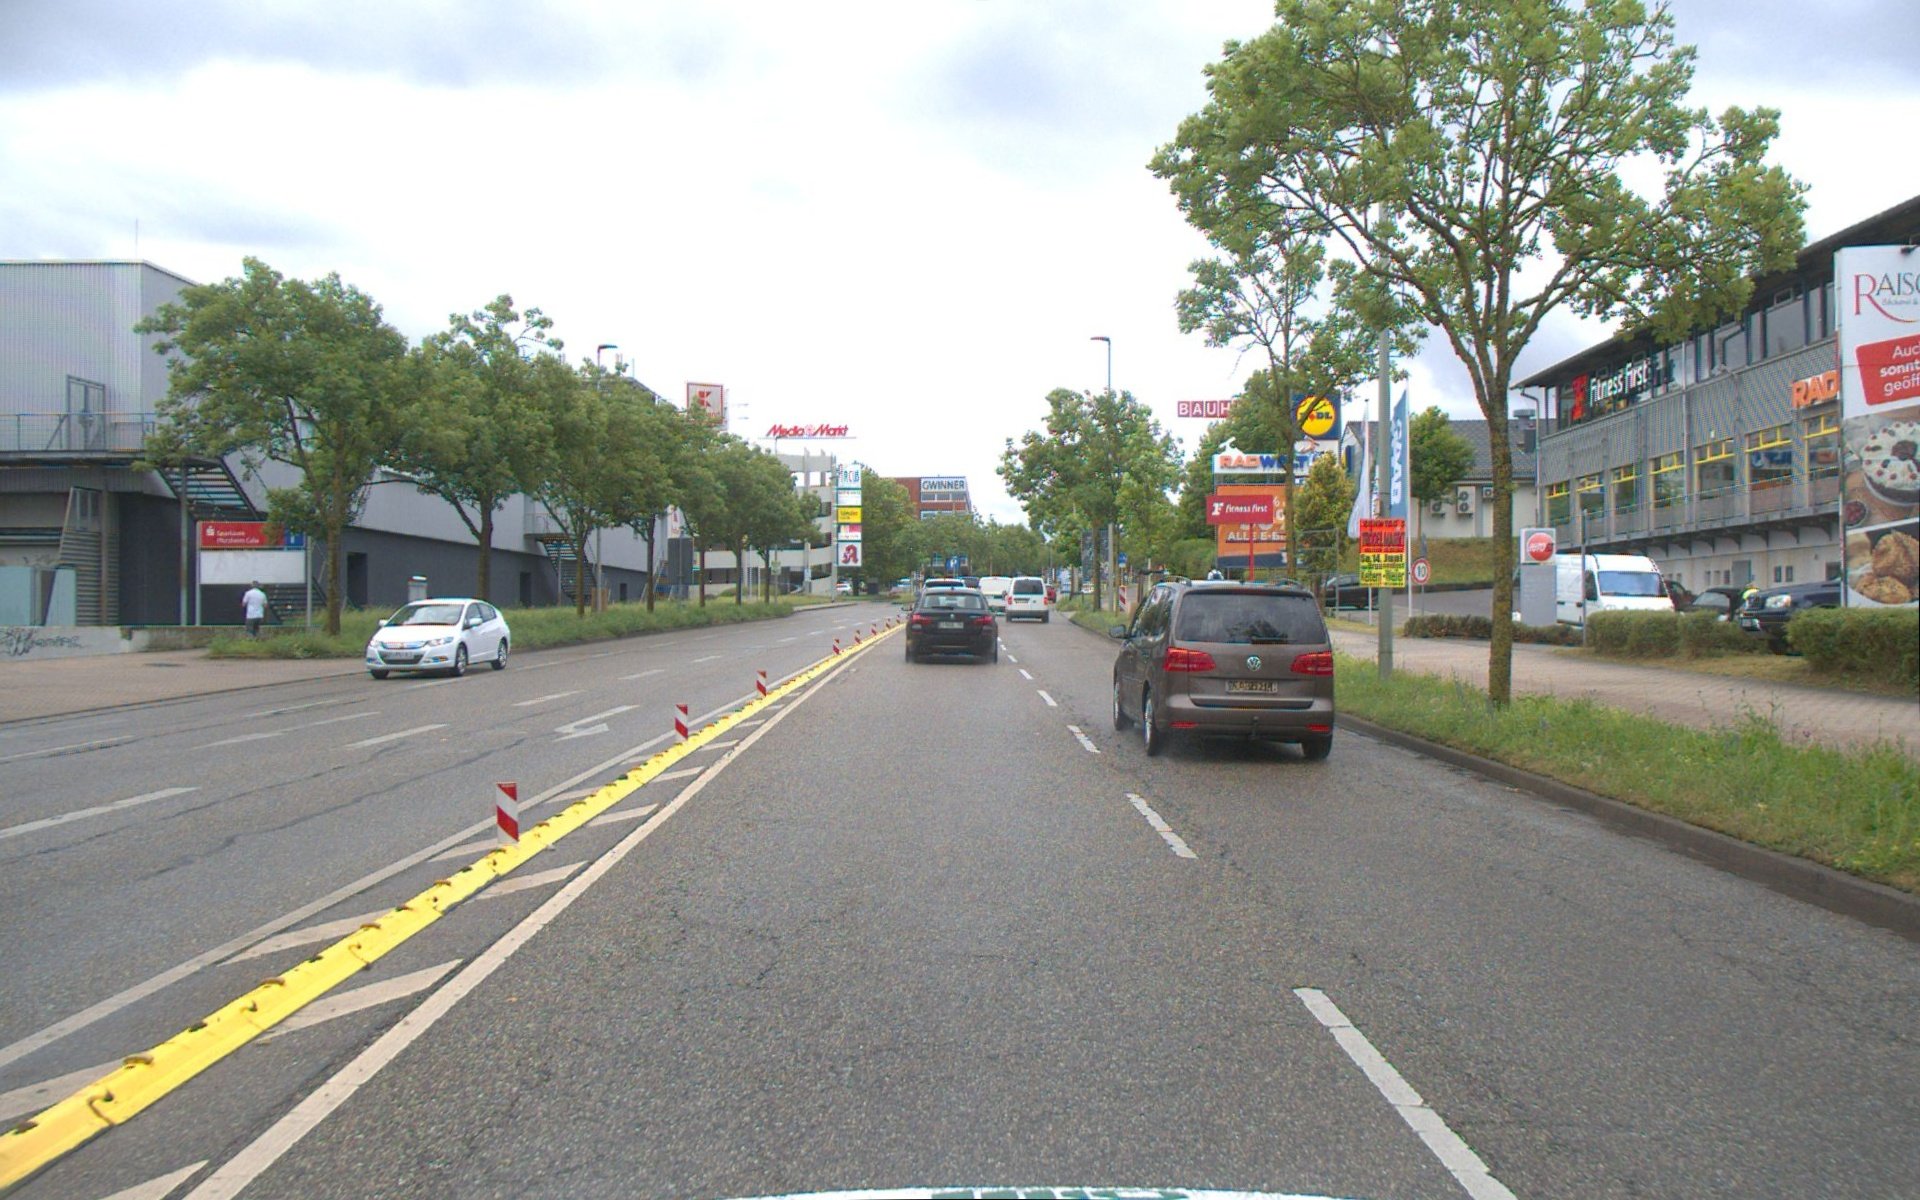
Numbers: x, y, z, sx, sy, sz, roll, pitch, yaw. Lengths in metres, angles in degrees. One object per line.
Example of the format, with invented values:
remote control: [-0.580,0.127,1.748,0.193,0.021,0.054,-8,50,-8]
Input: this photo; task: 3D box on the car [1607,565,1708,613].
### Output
car: [24.502,-0.418,58.043,3.838,1.527,1.715,-3,4,-40]

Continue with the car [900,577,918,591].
car: [-6.917,-2.179,223.360,1.996,1.792,4.949,0,2,4]

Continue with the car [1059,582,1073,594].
car: [14.381,-1.661,224.409,1.757,1.536,4.001,1,0,3]

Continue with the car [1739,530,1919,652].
car: [14.377,-0.225,24.704,4.556,1.628,1.928,-4,0,10]

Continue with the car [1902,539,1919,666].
car: [14.295,-0.093,20.508,4.082,1.628,1.829,-4,0,3]

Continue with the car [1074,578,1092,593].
car: [12.878,-1.472,173.851,1.757,1.536,4.001,1,0,3]

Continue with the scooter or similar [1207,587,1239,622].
scooter or similar: [10.067,0.157,63.321,0.683,1.285,1.396,-3,1,-13]

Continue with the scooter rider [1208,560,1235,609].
scooter rider: [10.021,-0.600,63.353,0.683,1.851,0.855,-3,1,-13]

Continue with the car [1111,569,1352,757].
car: [2.564,0.531,16.542,1.651,1.608,4.218,1,0,-1]

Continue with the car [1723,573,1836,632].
car: [24.189,0.039,48.753,1.754,1.495,4.231,2,4,44]

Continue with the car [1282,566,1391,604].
car: [15.504,-0.634,68.203,4.019,1.463,1.792,-1,3,-12]

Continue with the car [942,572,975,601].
car: [-0.080,-0.733,91.823,1.757,1.536,4.000,1,0,0]

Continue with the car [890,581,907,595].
car: [-7.748,-1.541,208.948,1.893,1.636,4.713,0,2,2]

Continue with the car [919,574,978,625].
car: [-0.340,-0.024,52.295,1.757,1.536,4.000,1,0,0]

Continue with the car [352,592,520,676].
car: [-10.017,0.604,31.978,1.705,1.430,4.469,-2,0,1]

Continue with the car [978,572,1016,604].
car: [1.798,-0.581,80.953,1.757,1.536,4.001,1,0,1]

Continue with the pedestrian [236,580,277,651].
pedestrian: [-16.343,0.355,38.421,0.572,1.611,0.767,1,0,2]

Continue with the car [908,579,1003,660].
car: [-0.099,0.344,33.451,1.790,1.494,4.000,1,1,-1]

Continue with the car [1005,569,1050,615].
car: [2.744,-0.350,67.655,1.789,1.789,4.001,1,1,2]

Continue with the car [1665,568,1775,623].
car: [23.796,-0.181,51.718,4.227,1.495,1.712,-3,4,-43]

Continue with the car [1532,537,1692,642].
car: [17.298,-0.333,44.244,2.181,2.581,5.683,1,1,2]

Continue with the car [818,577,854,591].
car: [-16.059,-2.063,214.239,4.505,1.776,1.967,0,2,-1]
